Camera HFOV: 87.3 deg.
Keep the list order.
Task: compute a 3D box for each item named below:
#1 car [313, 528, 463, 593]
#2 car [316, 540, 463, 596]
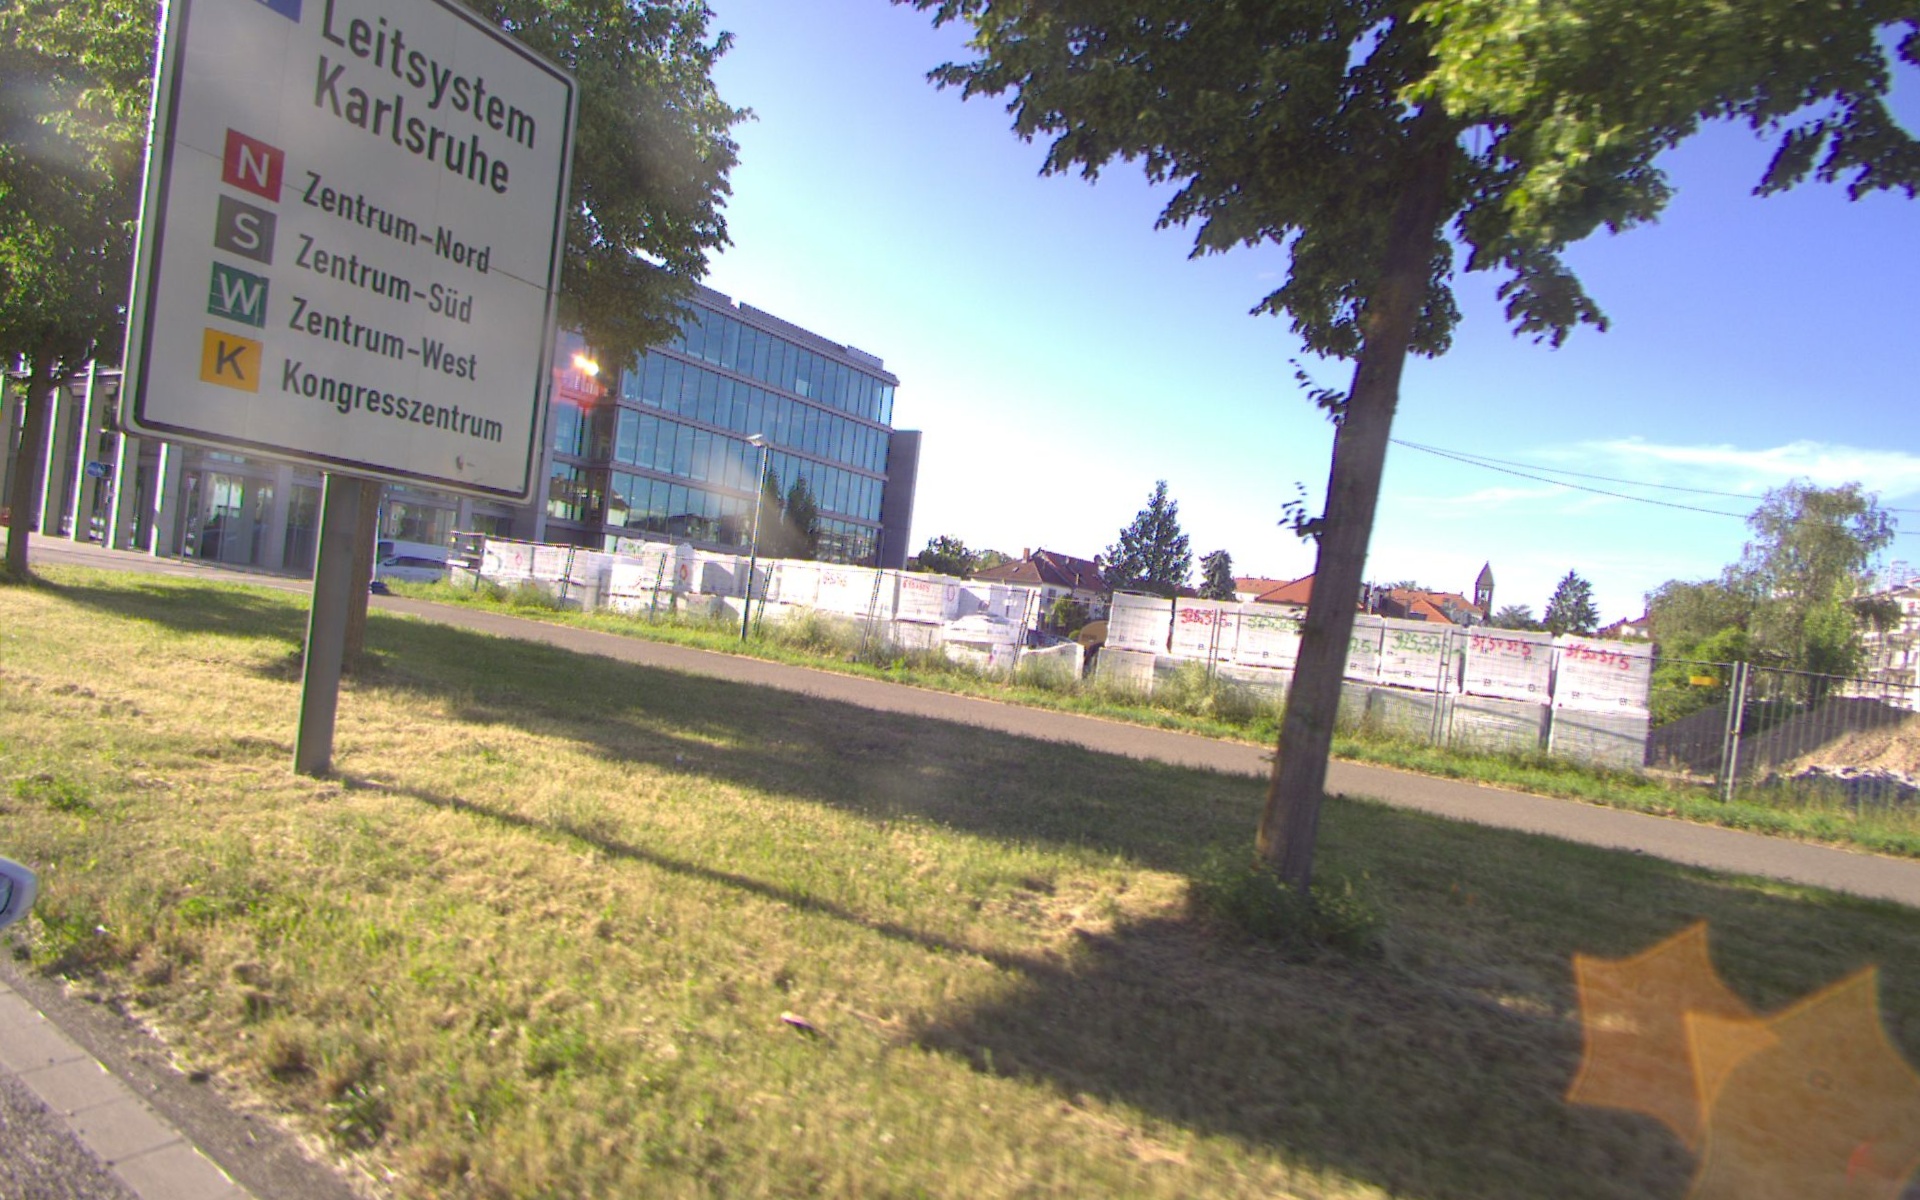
[{"bbox_3d":[-24.048,-1.609,42.493,1.907,2.005,5.073,7,-1,32],"label":"car"},{"bbox_3d":[-21.926,-1.206,38.796,1.749,1.409,4.508,8,-2,43],"label":"car"}]
